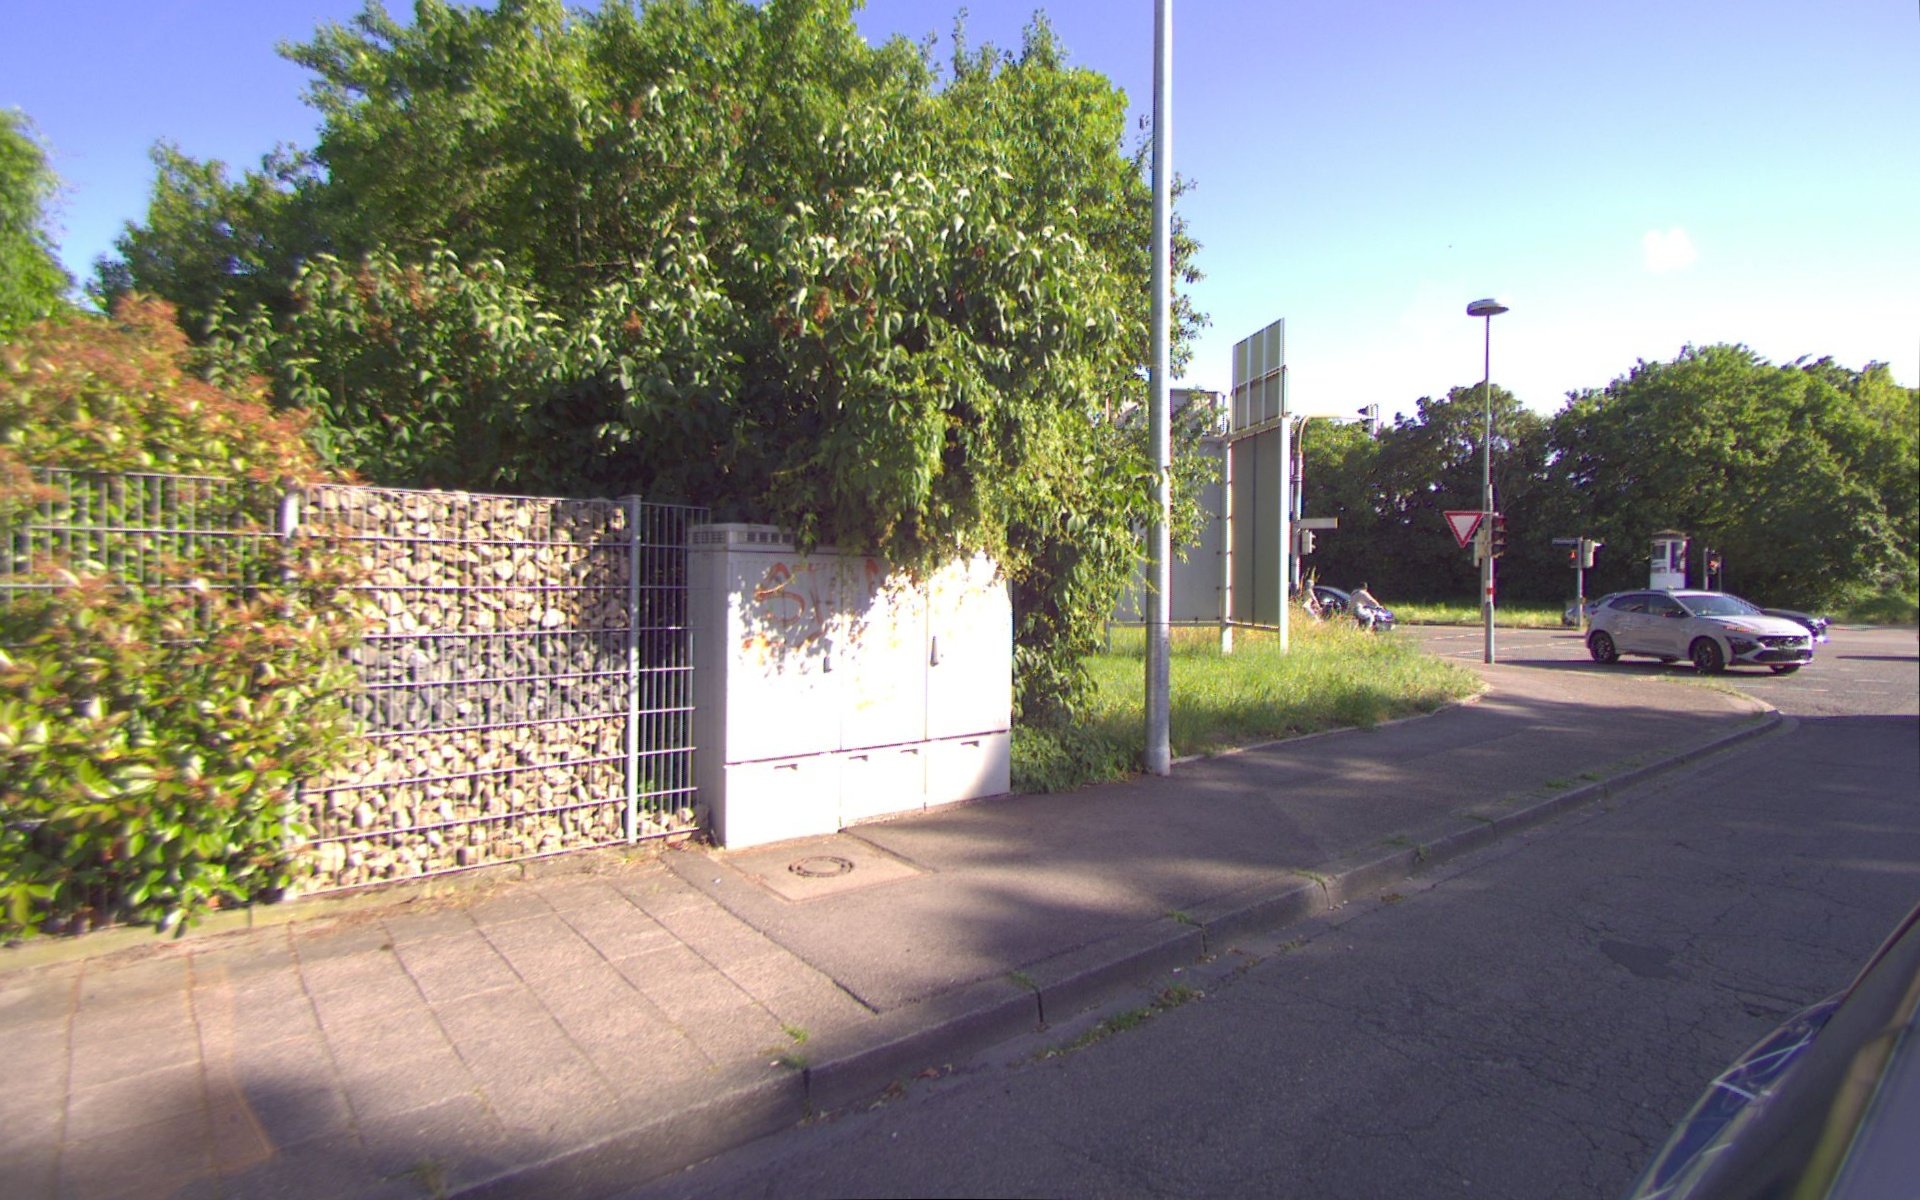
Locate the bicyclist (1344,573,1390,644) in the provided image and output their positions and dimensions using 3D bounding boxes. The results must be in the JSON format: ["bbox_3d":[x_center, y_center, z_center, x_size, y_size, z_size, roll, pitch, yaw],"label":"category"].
[{"bbox_3d":[9.945,0.218,24.713,0.791,1.655,0.544,4,1,-30],"label":"bicyclist"}]

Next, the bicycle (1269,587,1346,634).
[{"bbox_3d":[9.064,0.271,26.434,1.831,1.089,0.532,3,2,-12],"label":"bicycle"}]

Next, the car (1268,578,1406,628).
[{"bbox_3d":[12.088,0.047,32.544,3.890,1.457,1.671,1,4,38],"label":"car"}]

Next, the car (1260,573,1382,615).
[{"bbox_3d":[14.153,-0.273,39.752,4.172,1.557,1.812,1,1,38],"label":"car"}]

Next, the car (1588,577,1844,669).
[{"bbox_3d":[14.720,0.377,20.044,1.659,1.593,4.126,-1,1,-7],"label":"car"}]

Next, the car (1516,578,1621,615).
[{"bbox_3d":[25.337,-0.159,42.199,3.580,1.450,1.531,1,2,39],"label":"car"}]

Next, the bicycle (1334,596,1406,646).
[{"bbox_3d":[10.044,0.523,24.758,1.832,1.089,0.532,4,1,-29],"label":"bicycle"}]

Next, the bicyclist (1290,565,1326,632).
[{"bbox_3d":[9.085,-0.045,26.428,0.573,1.717,0.528,3,2,-12],"label":"bicyclist"}]

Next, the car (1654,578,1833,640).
[{"bbox_3d":[22.531,0.200,29.197,3.984,1.559,1.600,2,4,42],"label":"car"}]
